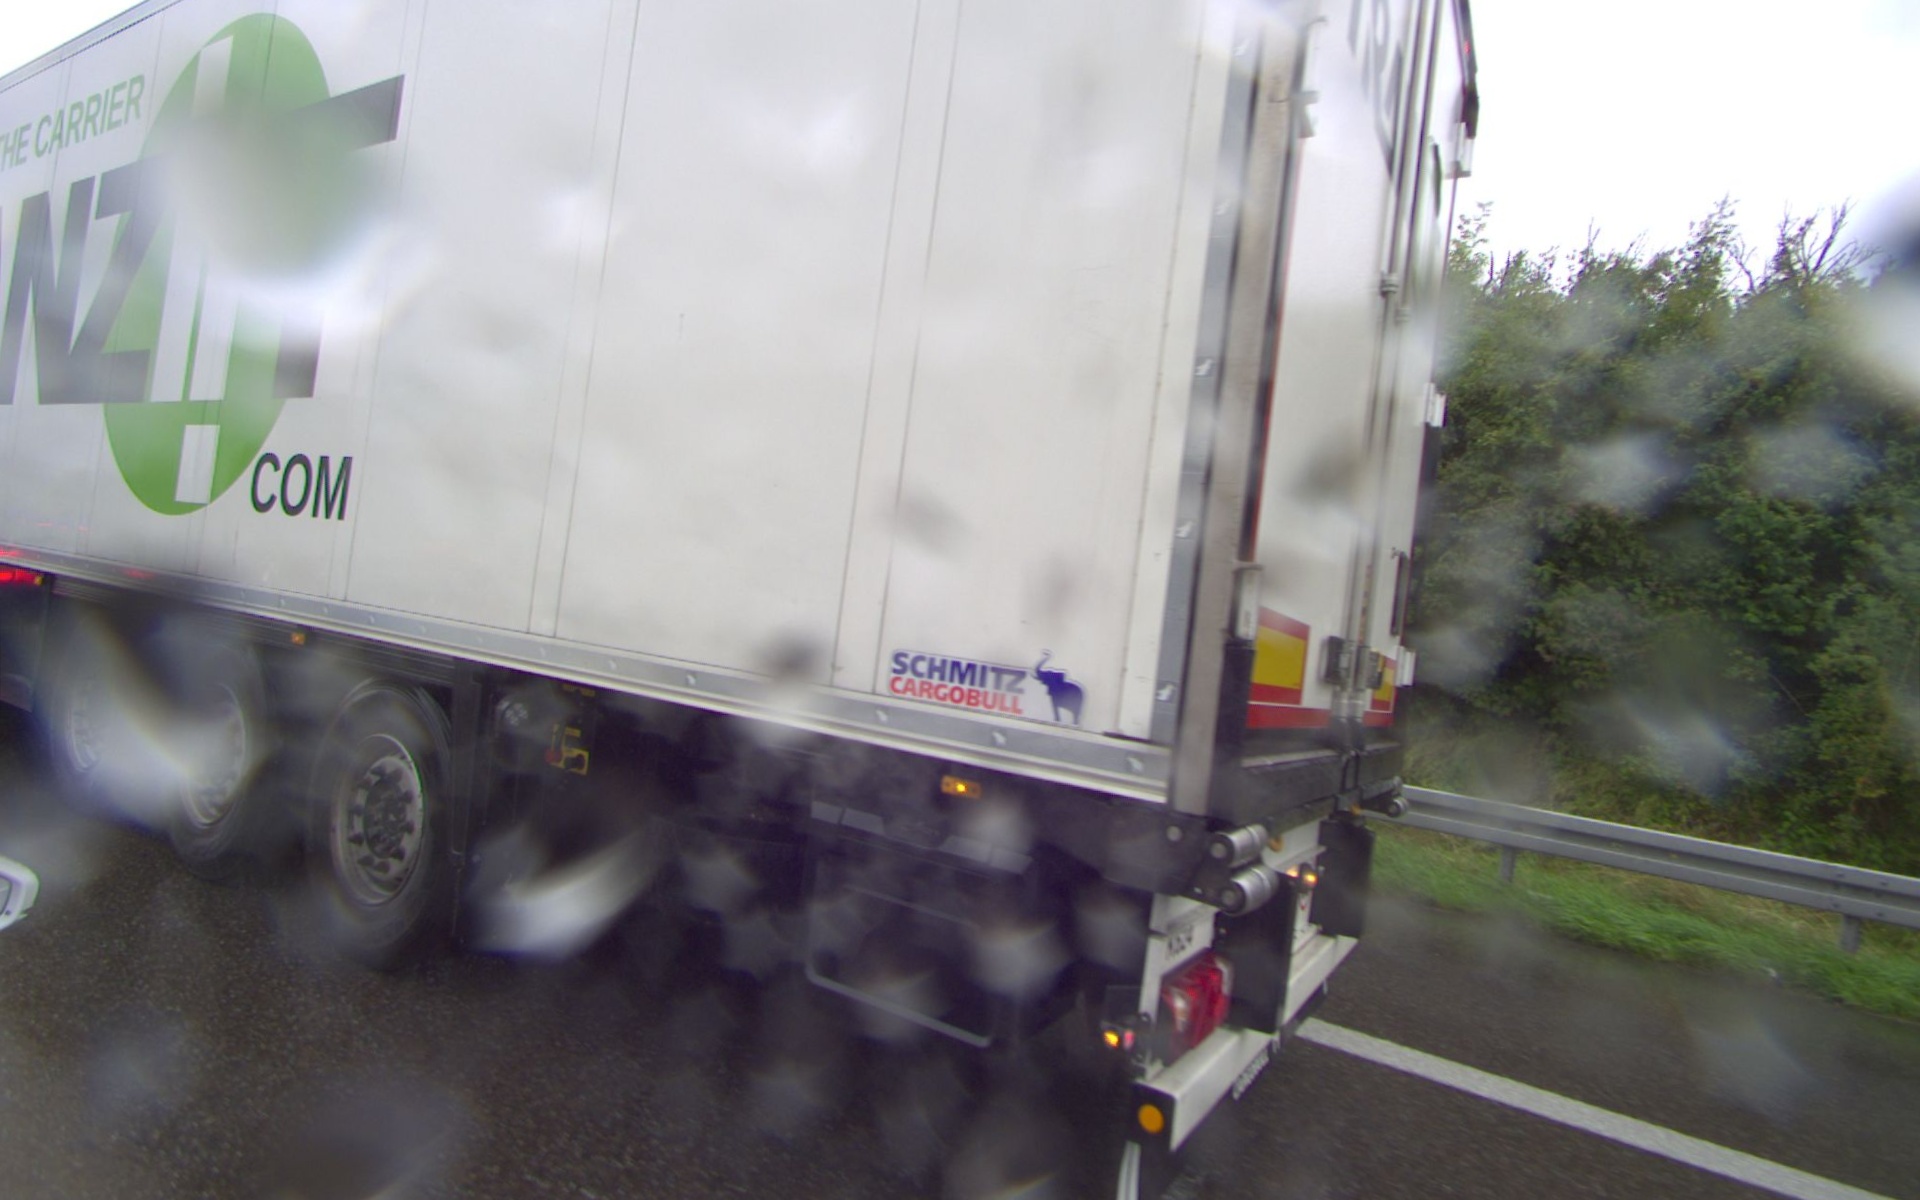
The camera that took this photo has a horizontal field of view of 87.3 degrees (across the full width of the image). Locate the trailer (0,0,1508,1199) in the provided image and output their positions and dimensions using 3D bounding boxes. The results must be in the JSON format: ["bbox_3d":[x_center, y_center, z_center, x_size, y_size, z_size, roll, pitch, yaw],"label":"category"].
[{"bbox_3d":[-4.815,-1.122,6.680,14.387,4.061,2.634,7,-1,32],"label":"trailer"}]

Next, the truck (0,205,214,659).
[{"bbox_3d":[-10.342,-1.695,10.163,4.712,3.873,2.635,7,-1,32],"label":"truck"}]
